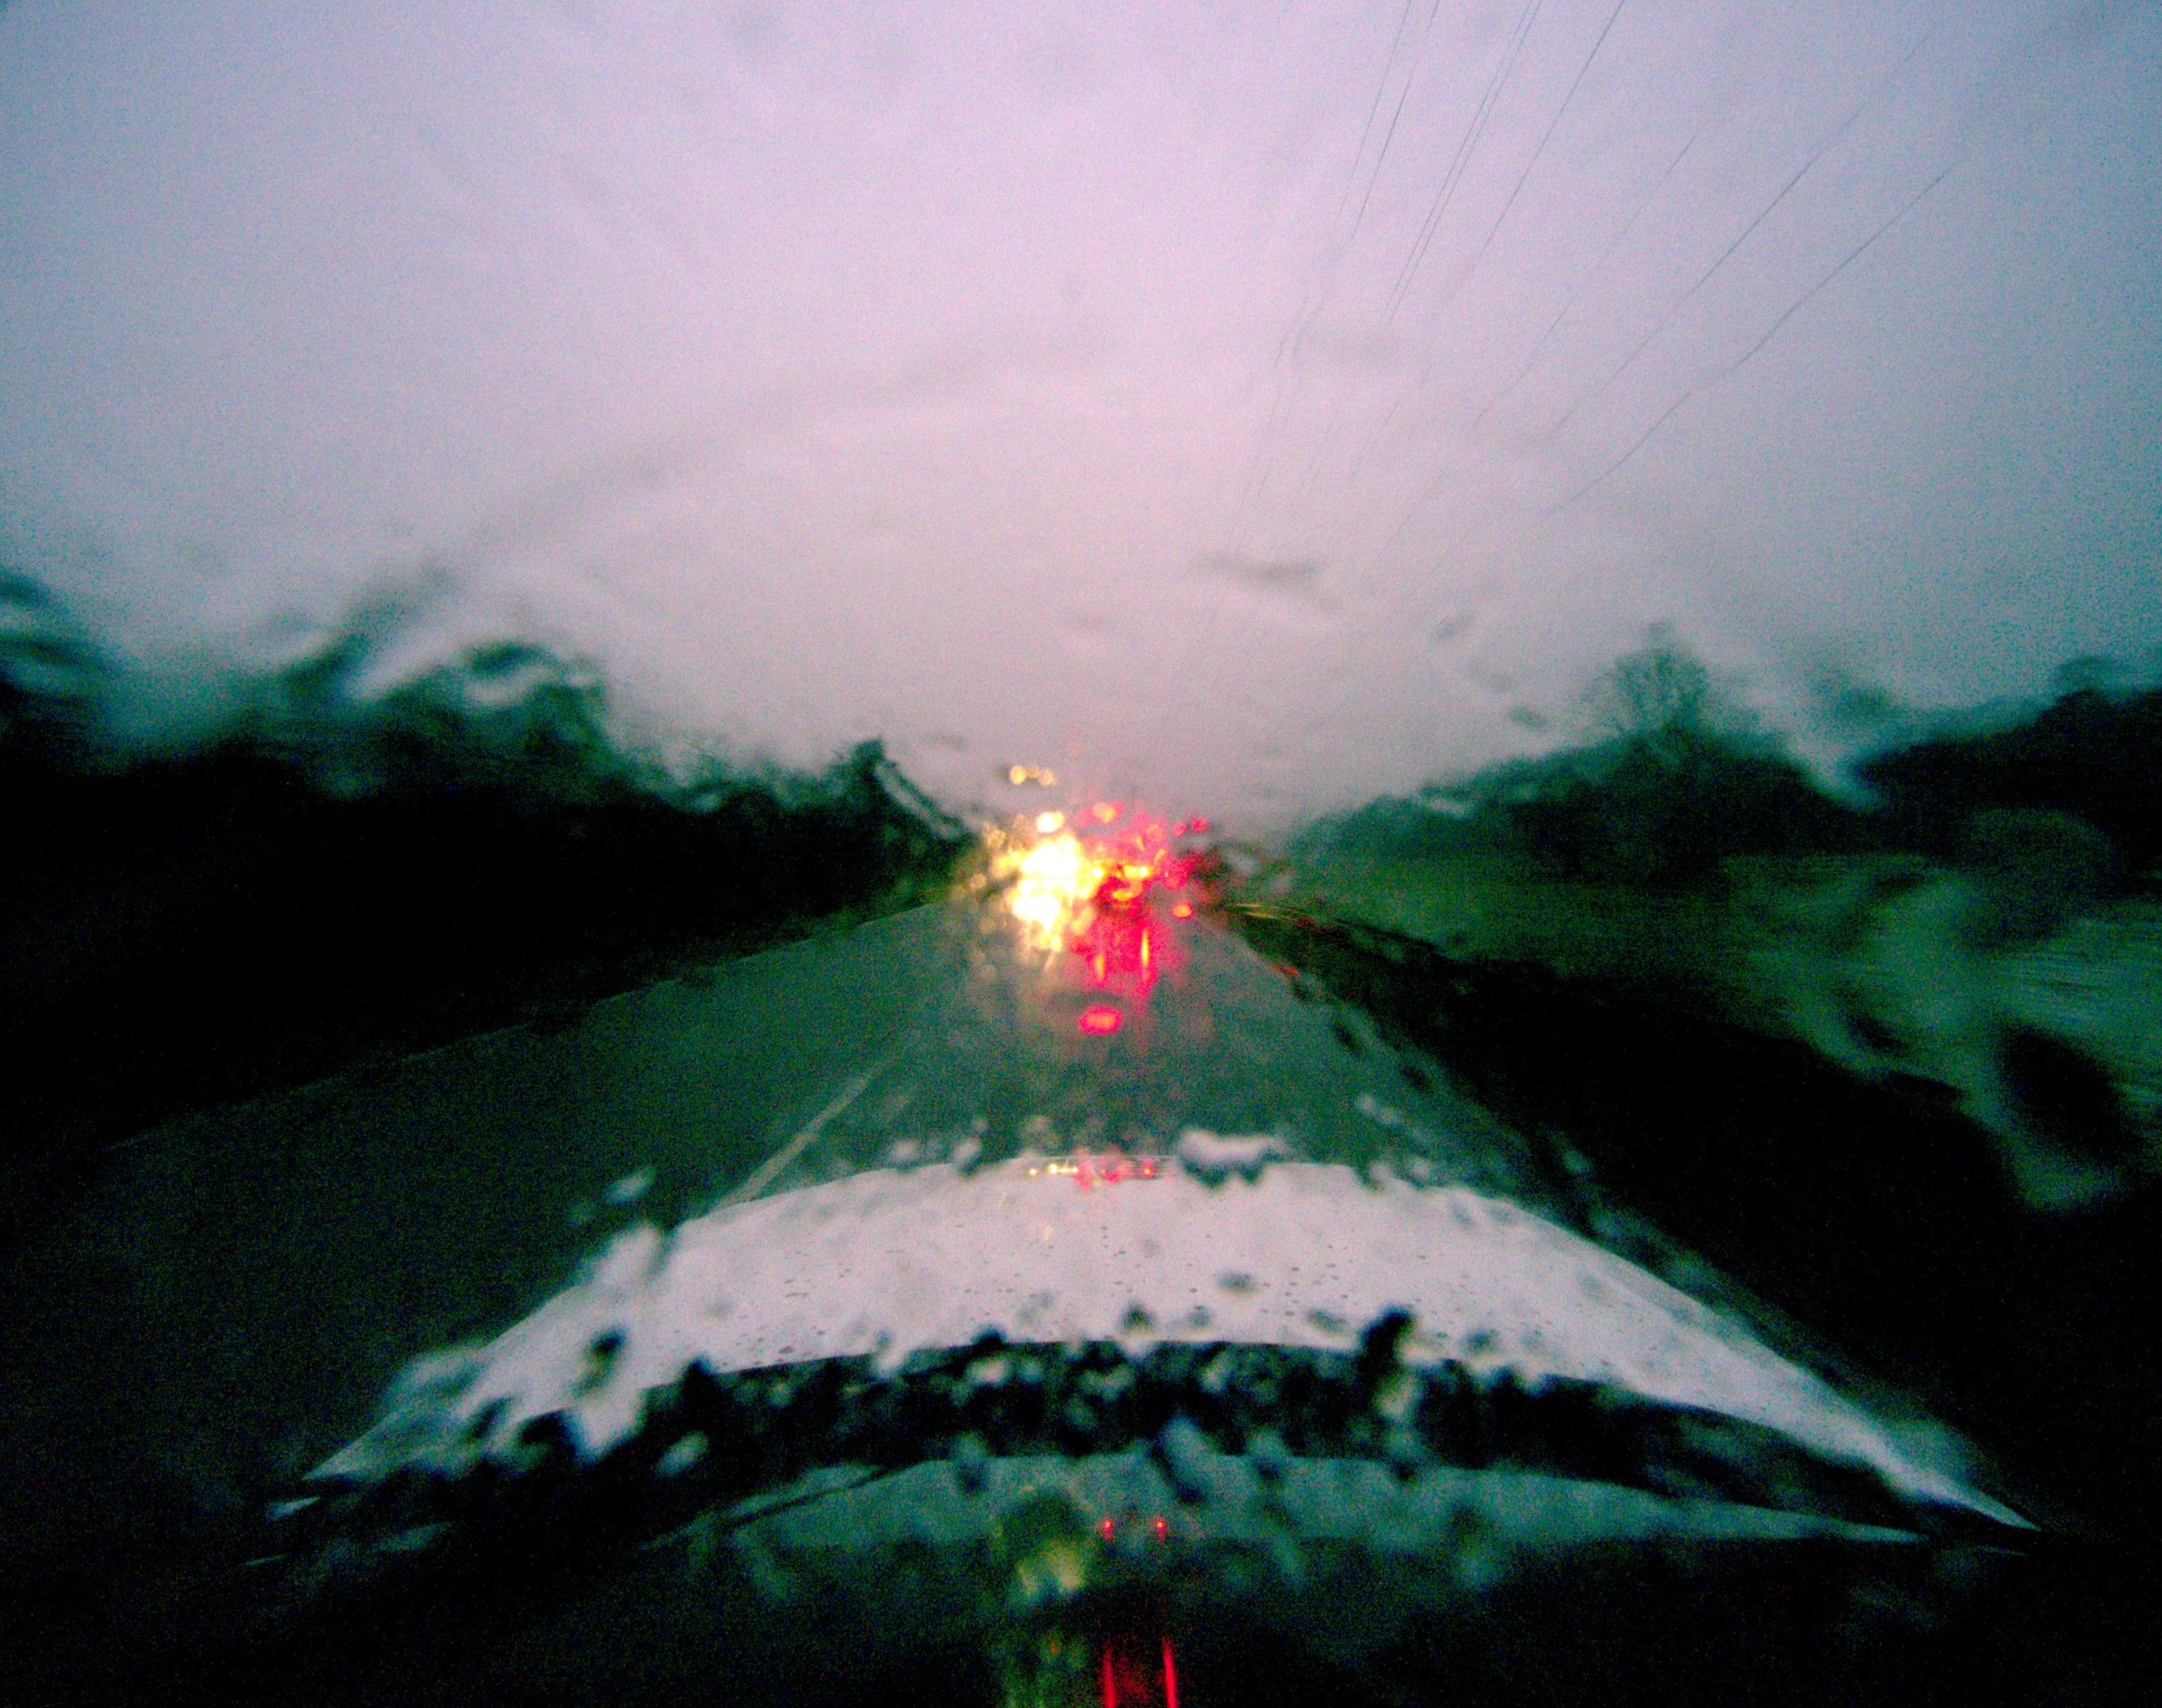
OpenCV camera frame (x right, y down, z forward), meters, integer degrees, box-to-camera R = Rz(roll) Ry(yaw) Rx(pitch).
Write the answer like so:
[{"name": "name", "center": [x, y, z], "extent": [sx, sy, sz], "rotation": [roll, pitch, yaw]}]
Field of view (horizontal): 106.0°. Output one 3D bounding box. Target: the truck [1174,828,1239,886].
[{"name": "truck", "center": [7.025, 0.189, 46.672], "extent": [2.525, 2.978, 7.857], "rotation": [-1, 0, 0]}]

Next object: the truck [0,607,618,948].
[{"name": "truck", "center": [-28.056, -1.665, 21.548], "extent": [7.515, 7.713, 40.164], "rotation": [-1, 0, 2]}]

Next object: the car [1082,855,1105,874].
[{"name": "car", "center": [1.047, 0.880, 71.021], "extent": [1.764, 1.591, 4.161], "rotation": [-1, 0, -2]}]

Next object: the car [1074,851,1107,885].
[{"name": "car", "center": [0.528, 0.843, 50.689], "extent": [1.847, 2.014, 3.997], "rotation": [-1, 0, -2]}]

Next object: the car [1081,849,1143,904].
[{"name": "car", "center": [0.806, 0.591, 22.749], "extent": [1.496, 1.398, 3.197], "rotation": [-1, 0, -2]}]
